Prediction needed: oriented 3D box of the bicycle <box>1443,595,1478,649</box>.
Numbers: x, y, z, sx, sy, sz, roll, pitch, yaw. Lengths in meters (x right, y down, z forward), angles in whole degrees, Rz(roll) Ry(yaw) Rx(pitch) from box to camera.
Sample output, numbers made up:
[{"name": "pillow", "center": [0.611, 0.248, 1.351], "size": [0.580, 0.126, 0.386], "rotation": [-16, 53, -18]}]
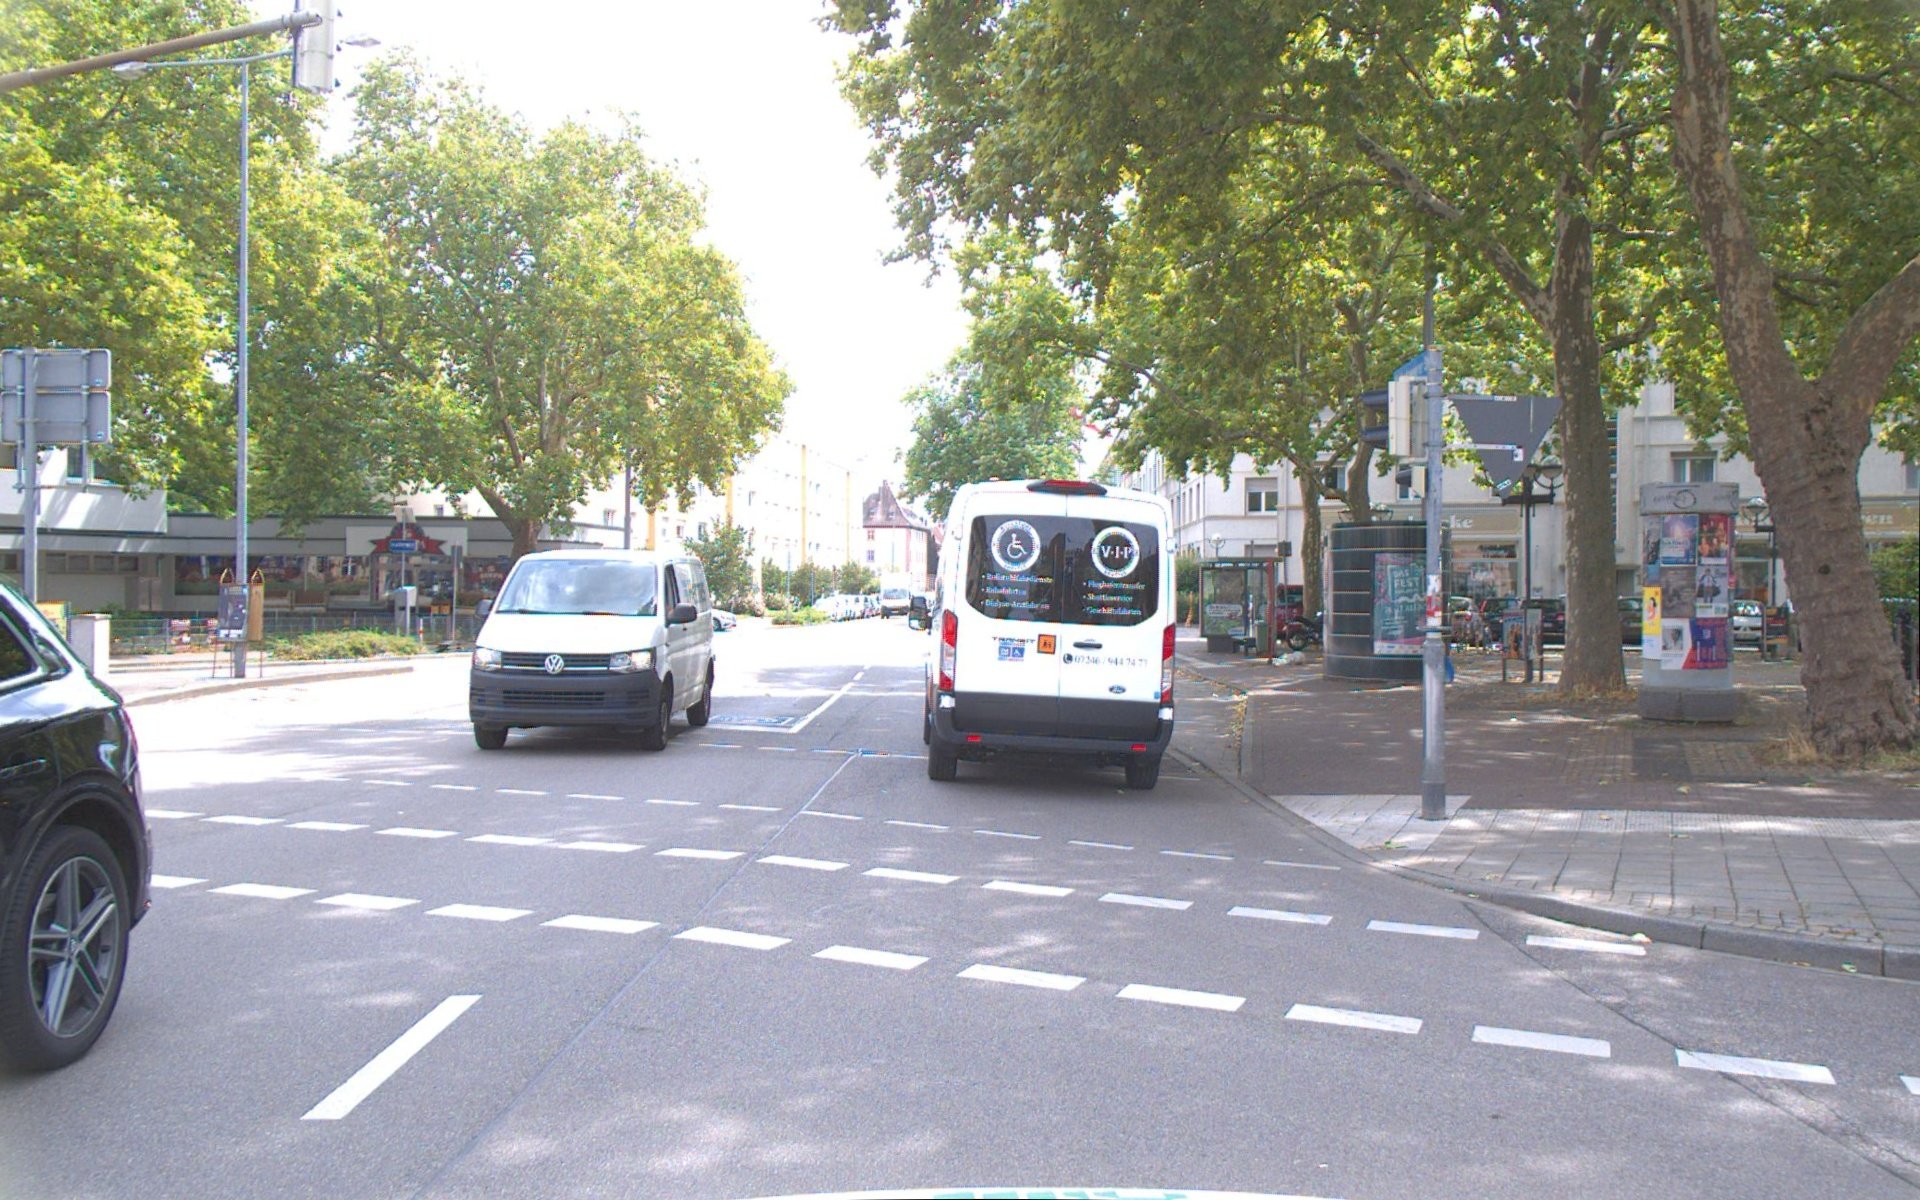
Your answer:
[{"name": "bicycle", "center": [13.513, 0.584, 44.612], "size": [0.411, 1.402, 2.307], "rotation": [0, 0, 30]}]

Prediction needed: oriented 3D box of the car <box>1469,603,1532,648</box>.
[{"name": "car", "center": [19.181, 0.867, 58.606], "size": [1.952, 1.530, 4.195], "rotation": [0, 0, 21]}]

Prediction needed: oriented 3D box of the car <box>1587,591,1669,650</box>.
[{"name": "car", "center": [19.275, 0.583, 47.863], "size": [1.952, 1.627, 4.002], "rotation": [0, 0, 18]}]

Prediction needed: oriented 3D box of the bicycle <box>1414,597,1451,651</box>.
[{"name": "bicycle", "center": [12.793, 0.626, 44.754], "size": [0.411, 1.402, 2.307], "rotation": [0, 1, 30]}]

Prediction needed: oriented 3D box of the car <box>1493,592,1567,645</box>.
[{"name": "car", "center": [16.608, 0.530, 48.279], "size": [1.952, 1.490, 4.002], "rotation": [0, 0, 18]}]

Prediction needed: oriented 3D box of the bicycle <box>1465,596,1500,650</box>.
[{"name": "bicycle", "center": [13.968, 0.591, 44.177], "size": [0.411, 1.402, 2.307], "rotation": [0, 0, 30]}]

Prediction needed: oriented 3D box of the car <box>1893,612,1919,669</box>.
[{"name": "car", "center": [26.778, 1.082, 44.722], "size": [1.952, 1.490, 4.002], "rotation": [0, 0, 18]}]

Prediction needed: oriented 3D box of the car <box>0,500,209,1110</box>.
[{"name": "car", "center": [-3.493, 0.559, 3.613], "size": [1.785, 1.676, 4.426], "rotation": [1, 0, -2]}]

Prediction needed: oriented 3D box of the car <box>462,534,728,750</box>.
[{"name": "car", "center": [-3.708, 0.370, 17.733], "size": [1.885, 1.970, 4.945], "rotation": [1, 0, -2]}]

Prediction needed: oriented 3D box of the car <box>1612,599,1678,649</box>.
[{"name": "car", "center": [23.413, 0.790, 56.630], "size": [1.952, 1.618, 4.195], "rotation": [0, 0, 21]}]

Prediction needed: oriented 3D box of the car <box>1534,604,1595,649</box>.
[{"name": "car", "center": [21.187, 0.900, 57.936], "size": [1.952, 1.513, 4.195], "rotation": [0, 0, 21]}]

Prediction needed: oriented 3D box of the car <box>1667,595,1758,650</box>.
[{"name": "car", "center": [21.376, 0.617, 47.116], "size": [1.952, 1.490, 4.002], "rotation": [0, 0, 18]}]

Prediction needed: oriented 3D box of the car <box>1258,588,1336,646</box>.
[{"name": "car", "center": [10.513, 0.512, 51.398], "size": [1.892, 1.736, 4.333], "rotation": [0, 0, 18]}]

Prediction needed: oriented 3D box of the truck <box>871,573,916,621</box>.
[{"name": "truck", "center": [-4.648, -0.211, 116.618], "size": [2.488, 3.162, 7.022], "rotation": [-2, 0, 2]}]

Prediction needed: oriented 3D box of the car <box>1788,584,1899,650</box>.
[{"name": "car", "center": [24.349, 0.450, 45.745], "size": [1.952, 1.724, 4.562], "rotation": [0, 0, 18]}]

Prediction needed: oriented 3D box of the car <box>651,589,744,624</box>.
[{"name": "car", "center": [-12.599, 0.313, 79.584], "size": [4.084, 1.476, 1.850], "rotation": [3, -1, 3]}]

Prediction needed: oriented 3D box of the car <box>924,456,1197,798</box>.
[{"name": "car", "center": [0.825, 0.216, 15.280], "size": [2.028, 2.584, 4.635], "rotation": [3, 0, 1]}]

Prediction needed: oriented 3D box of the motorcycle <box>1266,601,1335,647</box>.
[{"name": "motorcycle", "center": [9.464, 0.663, 45.978], "size": [1.817, 1.244, 0.530], "rotation": [0, 1, -5]}]
